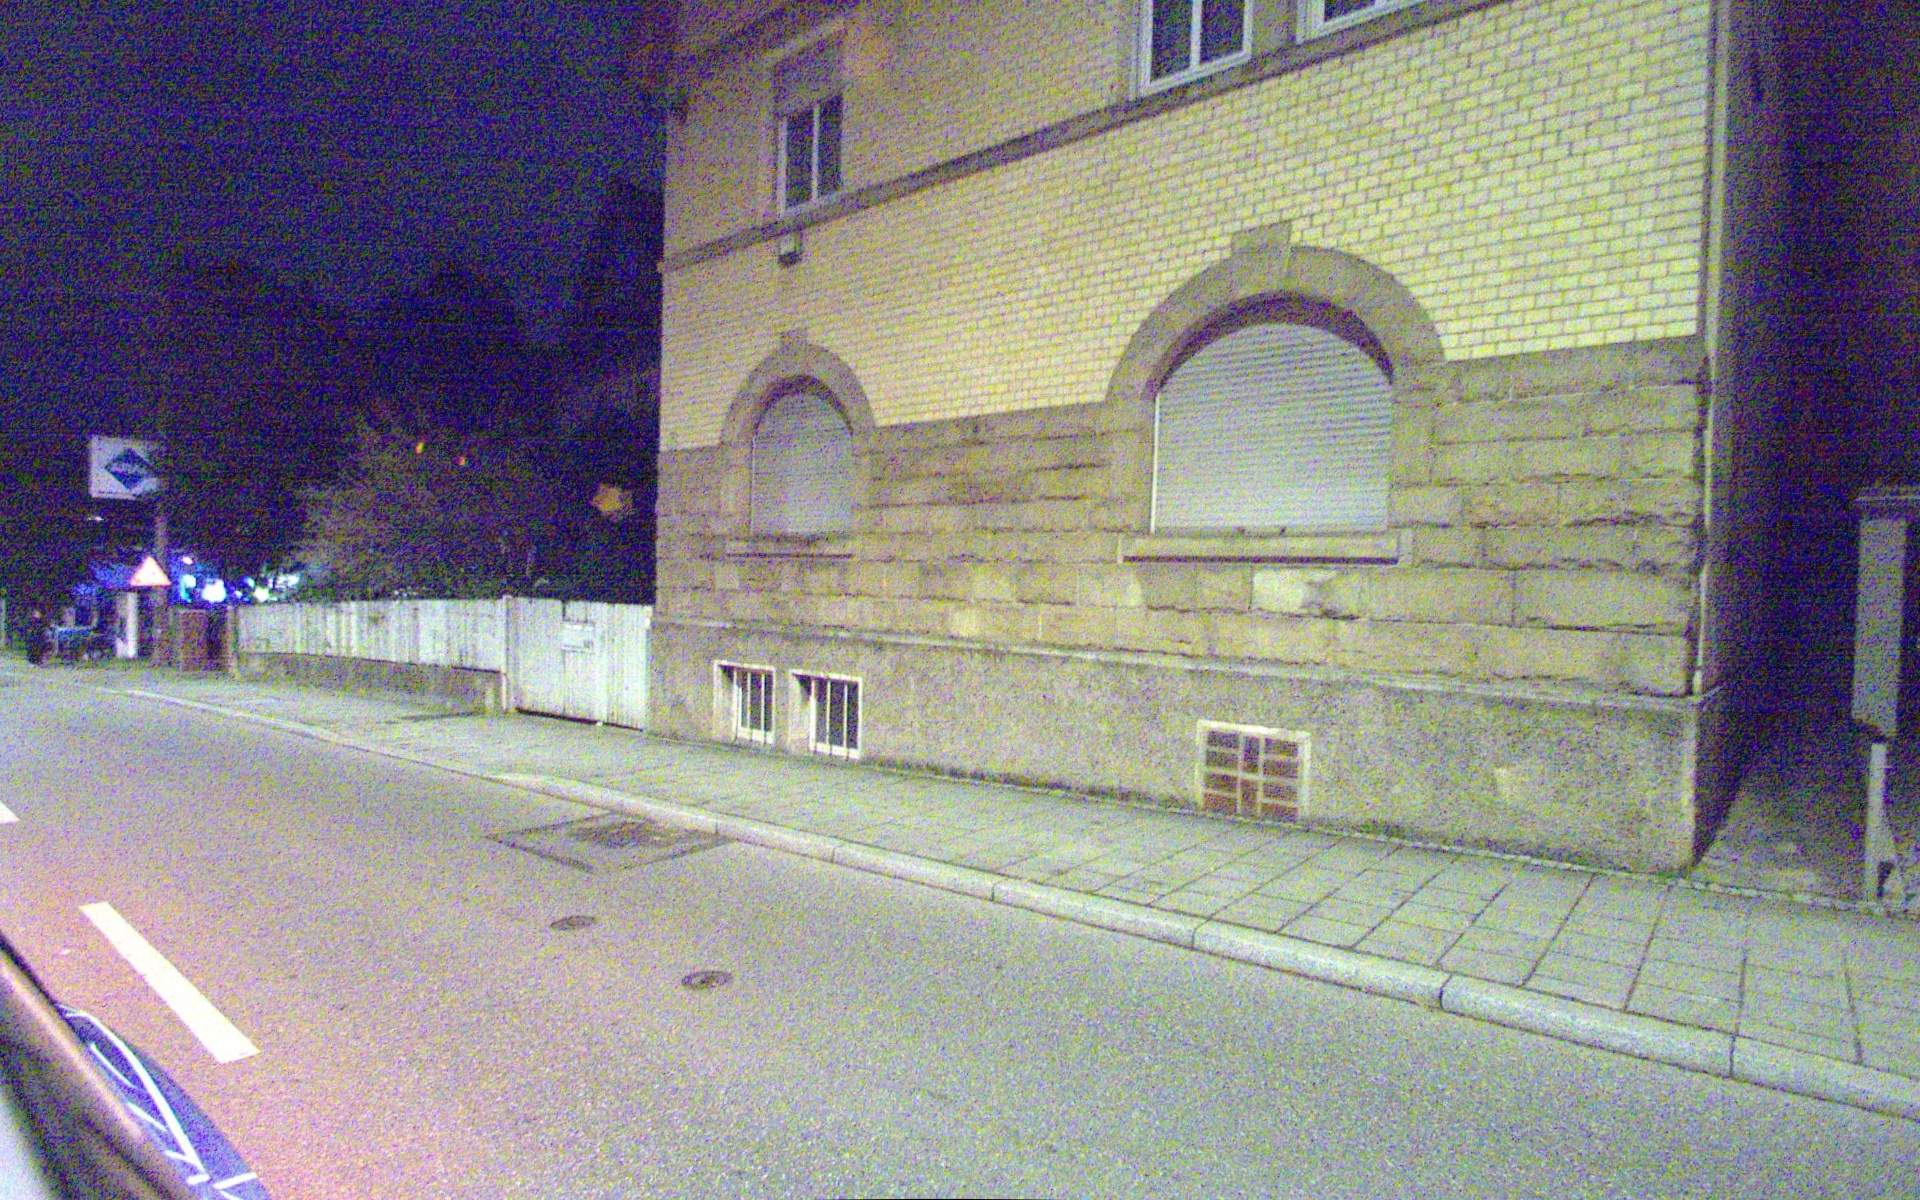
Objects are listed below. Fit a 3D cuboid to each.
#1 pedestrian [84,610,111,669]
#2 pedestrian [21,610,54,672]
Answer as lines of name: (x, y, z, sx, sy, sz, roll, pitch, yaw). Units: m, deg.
pedestrian: (-26.554, 1.213, 31.166, 0.500, 1.773, 0.557, -1, 0, 41)
pedestrian: (-26.904, 1.175, 29.511, 0.500, 1.773, 0.664, -1, 0, 41)
